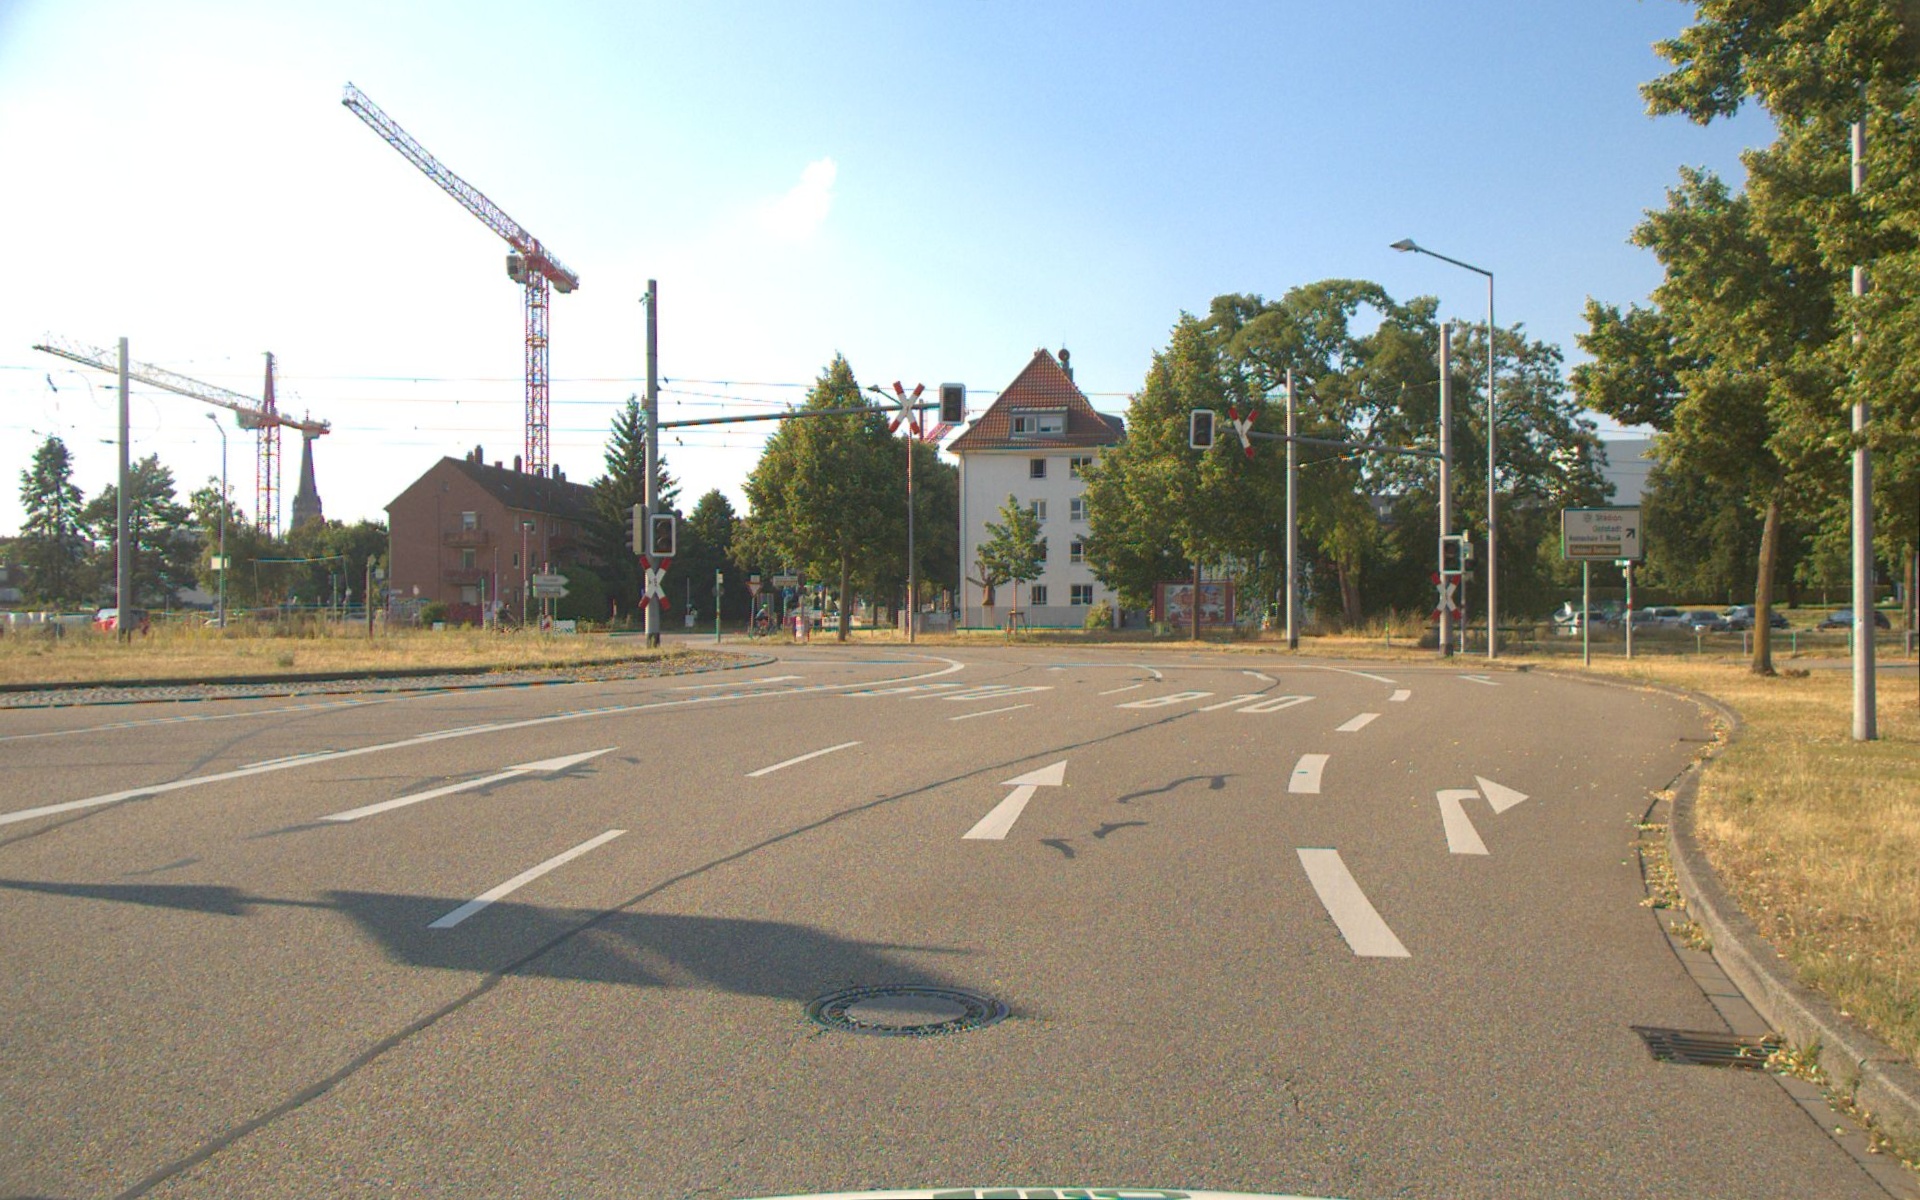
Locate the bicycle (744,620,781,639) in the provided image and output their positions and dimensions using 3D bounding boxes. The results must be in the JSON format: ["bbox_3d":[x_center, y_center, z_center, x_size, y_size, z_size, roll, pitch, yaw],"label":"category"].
[{"bbox_3d":[-10.560,1.575,88.386,1.960,0.934,0.427,0,0,-23],"label":"bicycle"}]

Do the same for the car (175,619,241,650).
[{"bbox_3d":[-51.490,2.354,113.298,3.729,2.049,1.672,0,-1,2],"label":"car"}]

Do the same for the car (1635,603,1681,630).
[{"bbox_3d":[38.398,0.895,90.996,1.567,1.426,3.972,-1,-1,12],"label":"car"}]

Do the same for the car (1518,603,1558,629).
[{"bbox_3d":[32.253,0.915,92.420,1.567,1.426,3.972,-1,-1,12],"label":"car"}]

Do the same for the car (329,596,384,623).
[{"bbox_3d":[-47.689,0.751,130.770,3.729,2.049,1.672,0,-1,2],"label":"car"}]

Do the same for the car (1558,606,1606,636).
[{"bbox_3d":[30.205,1.024,80.416,1.567,1.426,3.972,-1,-1,12],"label":"car"}]

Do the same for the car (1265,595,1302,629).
[{"bbox_3d":[15.972,0.614,81.625,1.733,1.646,3.972,-1,-1,12],"label":"car"}]

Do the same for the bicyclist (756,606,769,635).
[{"bbox_3d":[-10.556,1.078,88.386,0.613,1.537,0.416,0,0,-22],"label":"bicyclist"}]

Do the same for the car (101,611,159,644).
[{"bbox_3d":[-48.906,1.575,97.427,3.932,1.886,1.912,0,0,44],"label":"car"}]

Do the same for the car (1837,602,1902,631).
[{"bbox_3d":[42.878,0.781,78.065,1.567,1.333,3.972,-1,-1,12],"label":"car"}]

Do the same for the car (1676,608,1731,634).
[{"bbox_3d":[35.783,1.016,79.656,1.567,1.242,3.972,-1,-1,12],"label":"car"}]

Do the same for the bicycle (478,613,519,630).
[{"bbox_3d":[-23.237,1.076,83.250,1.960,0.839,0.427,0,0,-23],"label":"bicycle"}]
